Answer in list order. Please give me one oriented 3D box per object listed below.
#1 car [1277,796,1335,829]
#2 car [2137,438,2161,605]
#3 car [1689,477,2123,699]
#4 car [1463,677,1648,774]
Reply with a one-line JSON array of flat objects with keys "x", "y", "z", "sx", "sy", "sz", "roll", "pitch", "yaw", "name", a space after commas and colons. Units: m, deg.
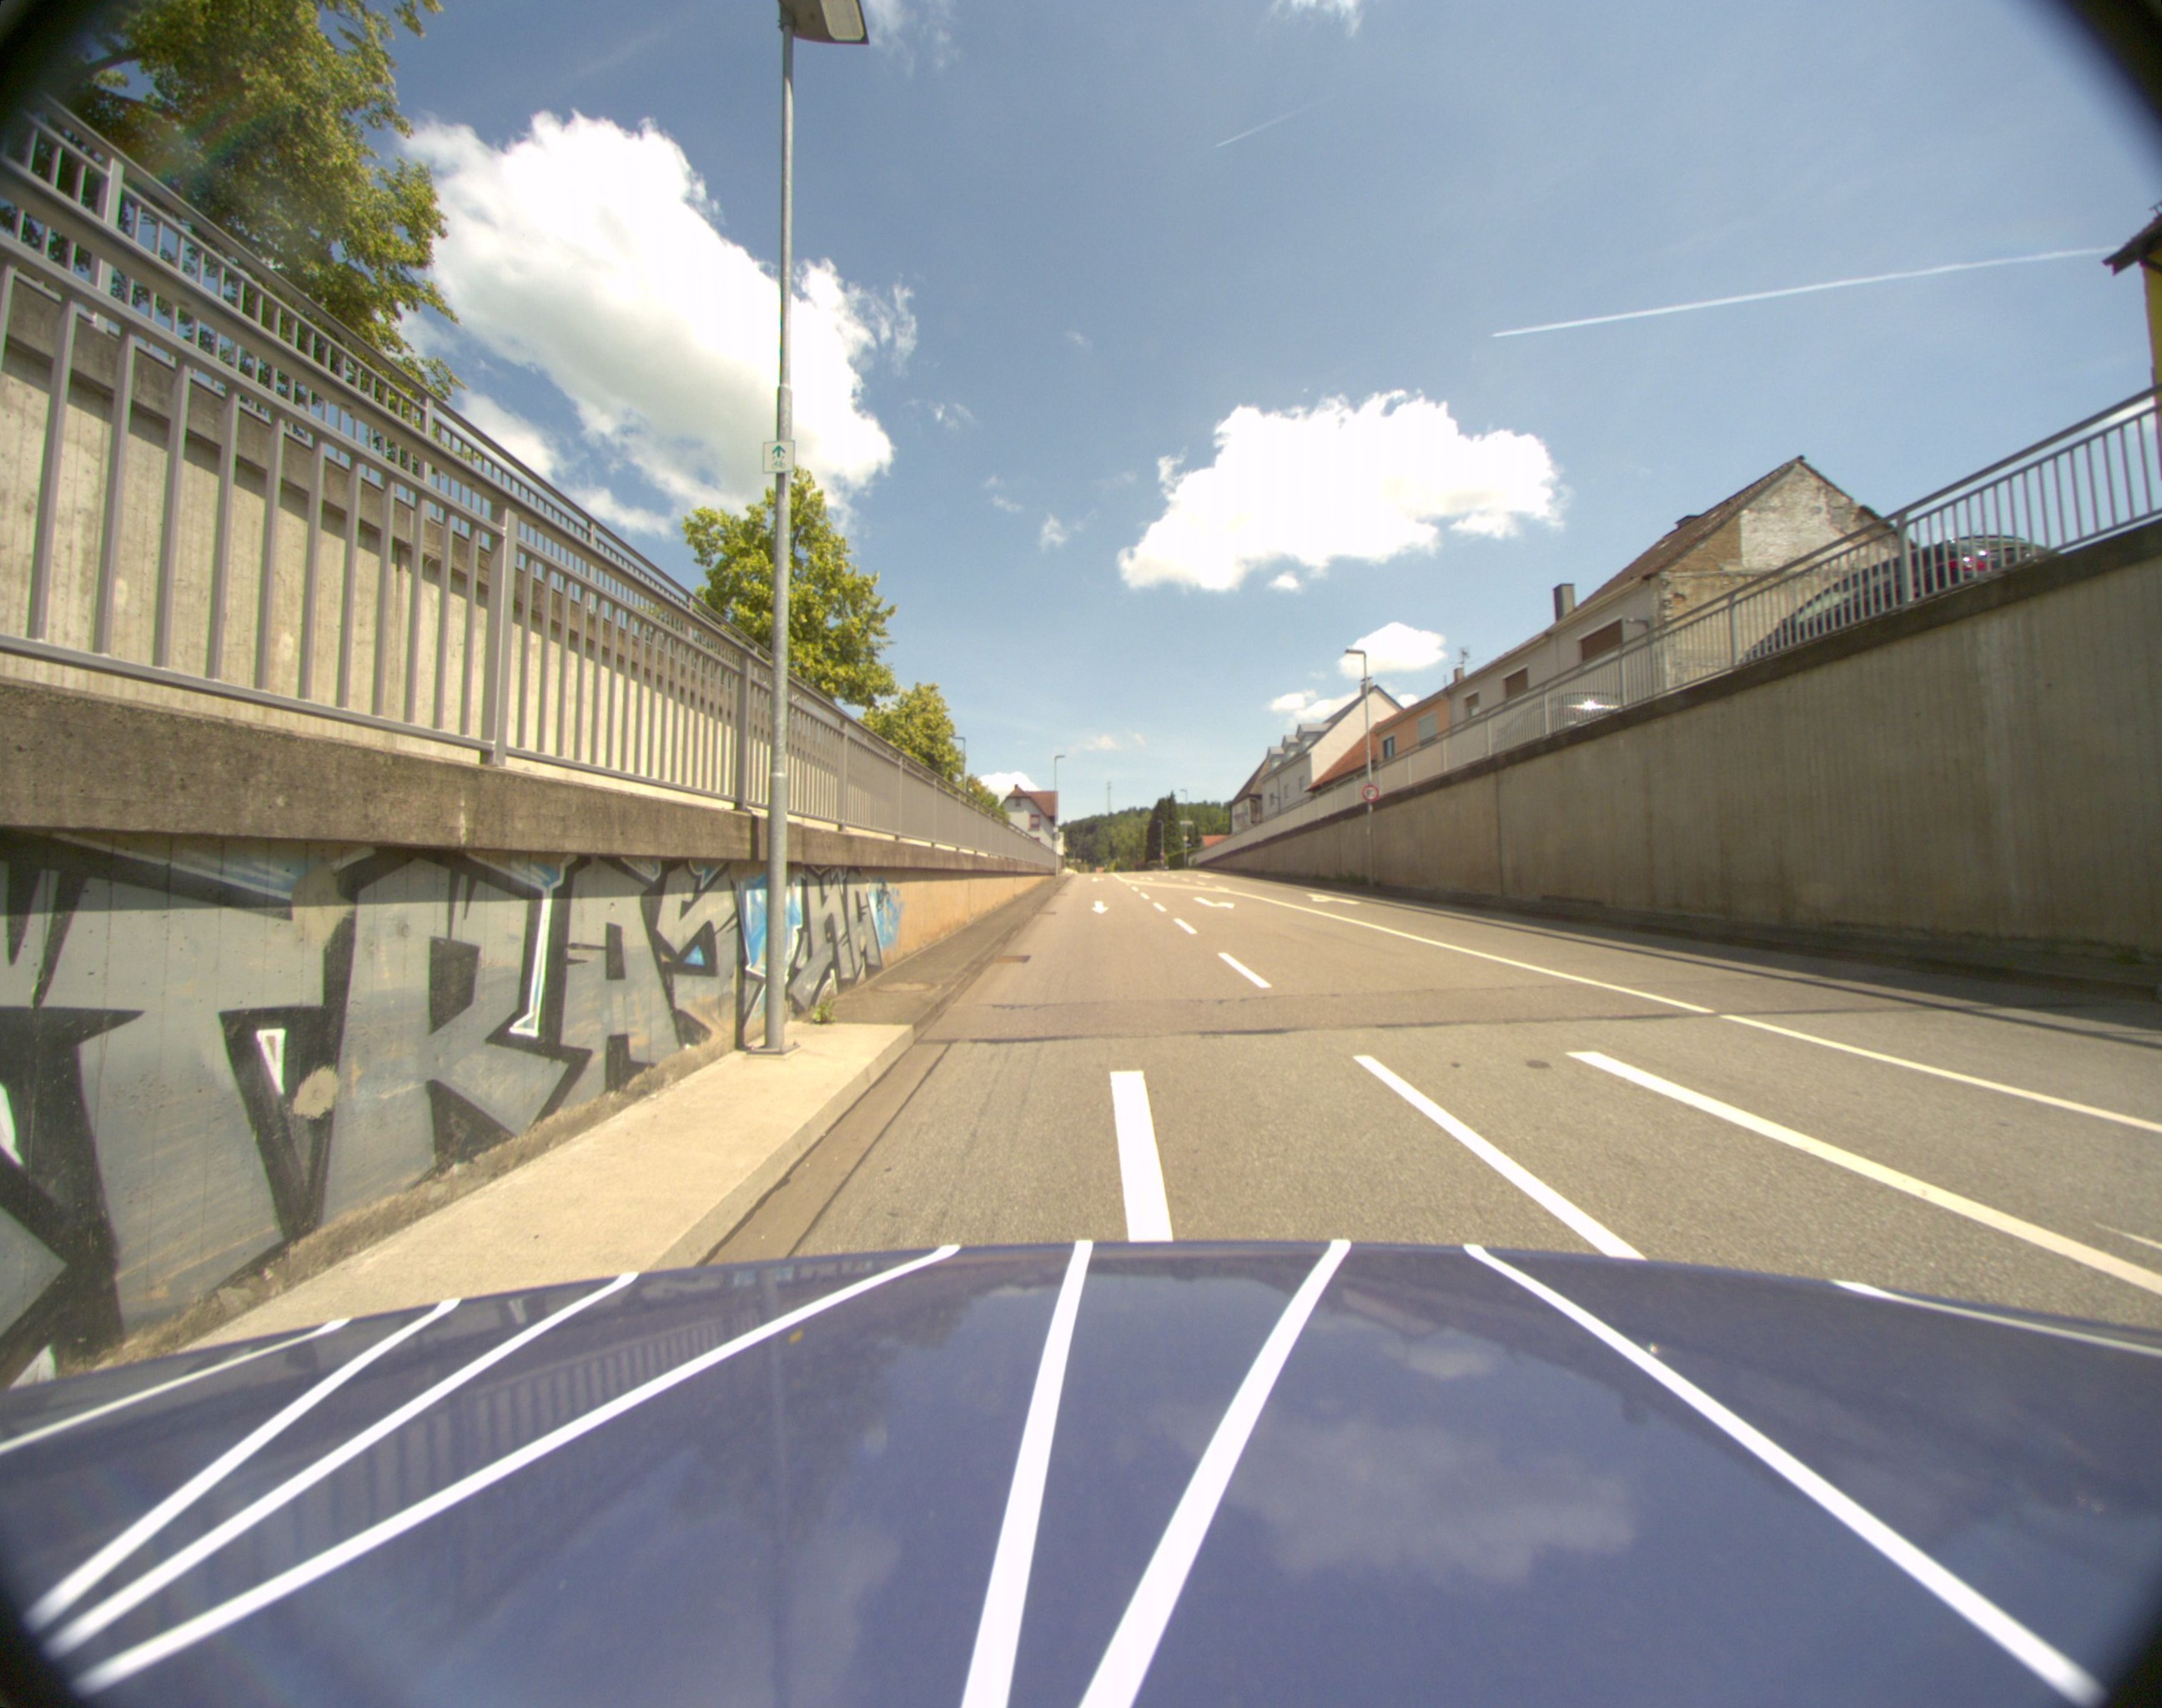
[{"x": 12.180, "y": -2.222, "z": 41.447, "sx": 1.790, "sy": 1.396, "sz": 4.394, "roll": -1, "pitch": -2, "yaw": -1, "name": "car"}, {"x": 12.040, "y": -3.514, "z": 5.939, "sx": 1.907, "sy": 1.657, "sz": 4.001, "roll": -1, "pitch": -2, "yaw": -1, "name": "car"}, {"x": 11.801, "y": -3.695, "z": 11.427, "sx": 1.827, "sy": 1.695, "sz": 4.223, "roll": -1, "pitch": -2, "yaw": -1, "name": "car"}, {"x": 11.684, "y": -3.091, "z": 19.125, "sx": 1.803, "sy": 1.515, "sz": 4.394, "roll": -1, "pitch": -2, "yaw": -1, "name": "car"}]
